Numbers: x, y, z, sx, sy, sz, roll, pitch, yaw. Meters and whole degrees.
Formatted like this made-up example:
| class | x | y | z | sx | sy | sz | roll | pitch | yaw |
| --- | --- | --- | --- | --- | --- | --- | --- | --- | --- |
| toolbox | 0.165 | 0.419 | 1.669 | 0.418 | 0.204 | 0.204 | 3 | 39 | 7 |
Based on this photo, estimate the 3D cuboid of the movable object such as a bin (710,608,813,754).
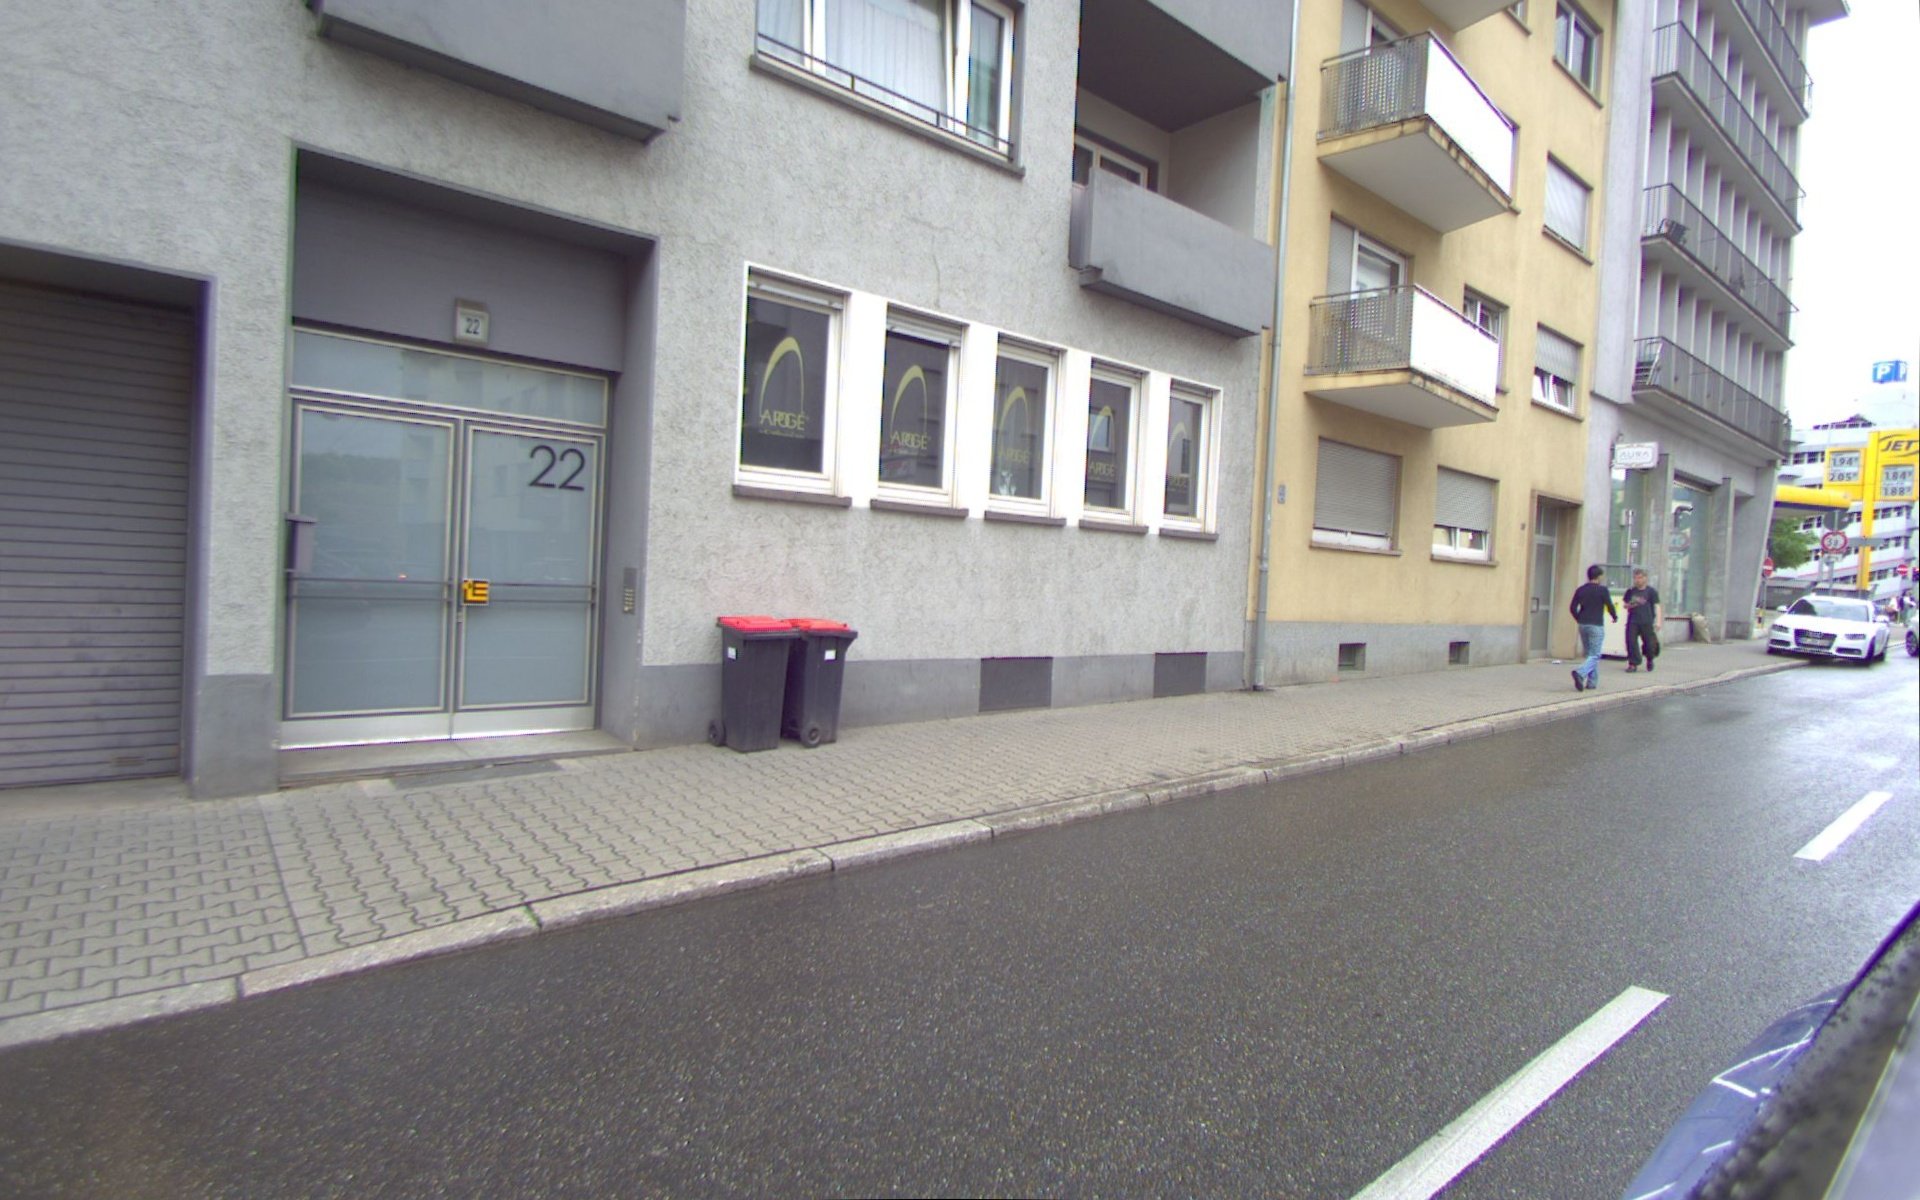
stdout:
| class | x | y | z | sx | sy | sz | roll | pitch | yaw |
| --- | --- | --- | --- | --- | --- | --- | --- | --- | --- |
| movable object such as a bin | -1.462 | 0.571 | 7.430 | 0.506 | 0.967 | 0.541 | 0 | 5 | -40 |

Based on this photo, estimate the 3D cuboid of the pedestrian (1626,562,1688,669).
| class | x | y | z | sx | sy | sz | roll | pitch | yaw |
| --- | --- | --- | --- | --- | --- | --- | --- | --- | --- |
| pedestrian | 11.987 | 0.247 | 17.408 | 0.677 | 1.777 | 0.874 | 4 | 3 | 43 |

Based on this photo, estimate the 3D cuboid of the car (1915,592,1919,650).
| class | x | y | z | sx | sy | sz | roll | pitch | yaw |
| --- | --- | --- | --- | --- | --- | --- | --- | --- | --- |
| car | 24.741 | 0.540 | 24.029 | 1.752 | 1.492 | 3.967 | 0 | 0 | 24 |

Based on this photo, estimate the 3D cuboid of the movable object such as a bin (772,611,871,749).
| class | x | y | z | sx | sy | sz | roll | pitch | yaw |
| --- | --- | --- | --- | --- | --- | --- | --- | --- | --- |
| movable object such as a bin | -1.072 | 0.595 | 7.786 | 0.506 | 0.961 | 0.541 | 0 | 5 | -40 |

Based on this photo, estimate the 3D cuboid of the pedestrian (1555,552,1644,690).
| class | x | y | z | sx | sy | sz | roll | pitch | yaw |
| --- | --- | --- | --- | --- | --- | --- | --- | --- | --- |
| pedestrian | 8.884 | 0.270 | 14.055 | 1.038 | 1.799 | 0.644 | 0 | 5 | -41 |

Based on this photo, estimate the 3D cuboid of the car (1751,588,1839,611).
| class | x | y | z | sx | sy | sz | roll | pitch | yaw |
| --- | --- | --- | --- | --- | --- | --- | --- | --- | --- |
| car | 53.391 | -0.036 | 64.799 | 1.737 | 1.463 | 4.003 | 0 | 0 | -30 |

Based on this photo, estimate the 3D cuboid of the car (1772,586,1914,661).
| class | x | y | z | sx | sy | sz | roll | pitch | yaw |
| --- | --- | --- | --- | --- | --- | --- | --- | --- | --- |
| car | 20.118 | 0.466 | 23.008 | 4.093 | 1.453 | 1.803 | 0 | 4 | -41 |
